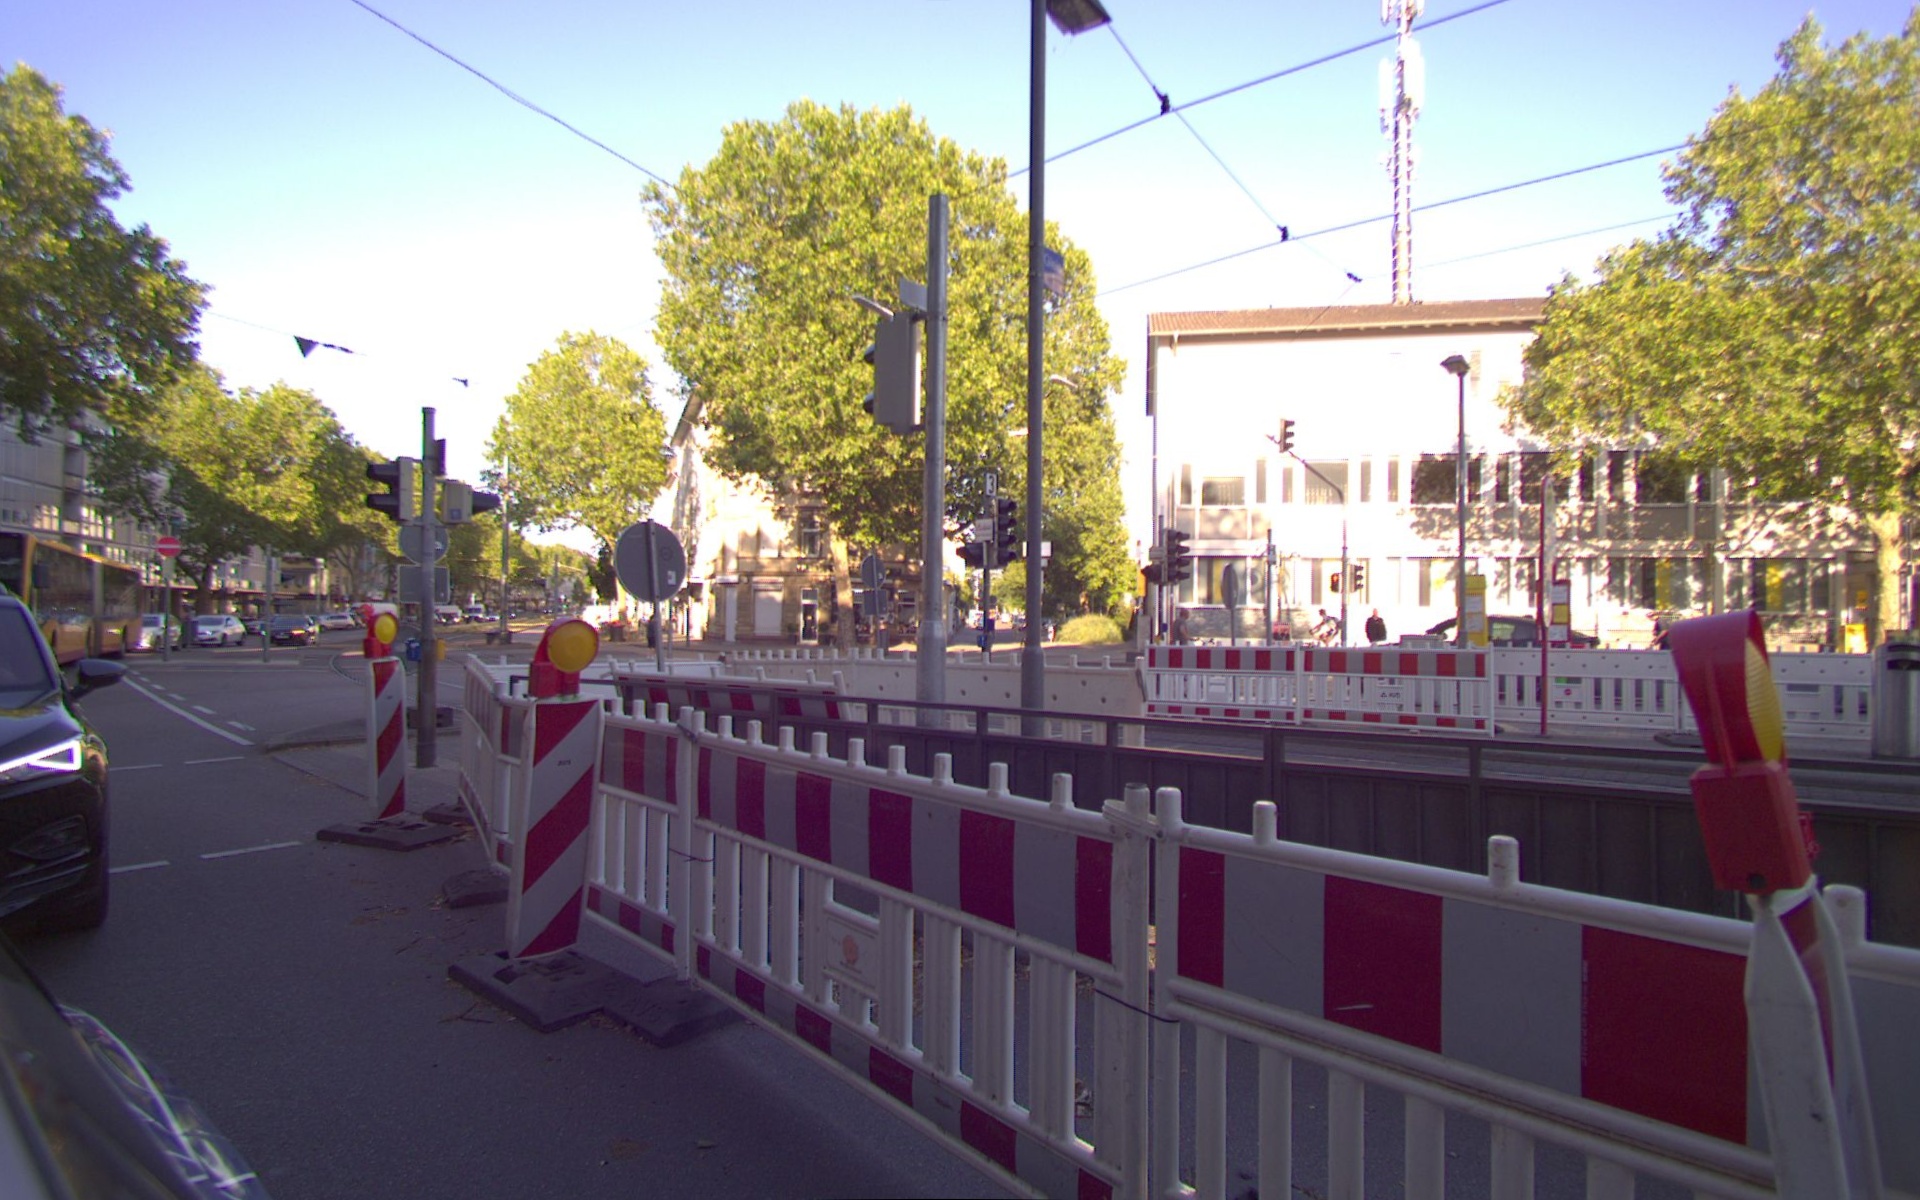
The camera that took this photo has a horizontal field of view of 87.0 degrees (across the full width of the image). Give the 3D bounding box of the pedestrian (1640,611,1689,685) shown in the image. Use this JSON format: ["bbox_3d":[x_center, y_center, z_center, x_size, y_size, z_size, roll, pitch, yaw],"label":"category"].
[{"bbox_3d":[17.887,1.200,25.722,0.923,1.847,0.693,-1,-2,28],"label":"pedestrian"}]

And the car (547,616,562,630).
[{"bbox_3d":[-58.360,3.302,145.738,1.965,2.029,4.013,1,-1,-20],"label":"car"}]

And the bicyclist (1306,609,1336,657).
[{"bbox_3d":[11.693,1.075,32.794,0.837,1.538,0.573,0,-2,13],"label":"bicyclist"}]

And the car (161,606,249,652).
[{"bbox_3d":[-34.908,1.339,46.916,1.966,2.029,4.012,1,-1,-17],"label":"car"}]

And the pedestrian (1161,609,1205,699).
[{"bbox_3d":[4.433,1.068,20.177,0.545,1.760,0.693,1,-2,-24],"label":"pedestrian"}]

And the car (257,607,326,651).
[{"bbox_3d":[-31.638,1.365,48.013,1.965,2.029,4.013,1,-1,-22],"label":"car"}]

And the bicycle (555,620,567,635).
[{"bbox_3d":[-33.259,2.290,84.287,0.837,1.202,2.474,1,-1,-23],"label":"bicycle"}]

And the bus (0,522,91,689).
[{"bbox_3d":[-21.083,0.155,21.928,2.678,3.130,8.641,1,-2,-36],"label":"bus"}]

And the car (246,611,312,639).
[{"bbox_3d":[-50.363,1.886,74.909,3.932,2.029,2.006,1,-2,-31],"label":"car"}]

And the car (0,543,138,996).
[{"bbox_3d":[-5.481,0.653,4.777,3.998,1.719,1.818,-1,-2,41],"label":"car"}]

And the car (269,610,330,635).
[{"bbox_3d":[-53.928,1.857,82.664,3.938,2.029,2.002,1,-2,-42],"label":"car"}]

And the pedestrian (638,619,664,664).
[{"bbox_3d":[-10.630,1.420,34.827,0.594,1.545,0.746,1,-2,-38],"label":"pedestrian"}]

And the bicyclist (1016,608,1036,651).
[{"bbox_3d":[2.736,1.221,41.945,0.668,1.741,0.761,0,-2,17],"label":"bicyclist"}]

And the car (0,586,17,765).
[{"bbox_3d":[-10.977,0.703,10.029,4.073,1.656,1.973,-1,-2,41],"label":"car"}]

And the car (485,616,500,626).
[{"bbox_3d":[-70.814,3.156,153.361,1.675,1.481,3.776,1,-2,-19],"label":"car"}]

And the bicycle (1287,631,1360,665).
[{"bbox_3d":[11.743,1.546,32.772,2.168,1.039,0.675,0,-2,14],"label":"bicycle"}]

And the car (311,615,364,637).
[{"bbox_3d":[-58.329,2.423,94.905,3.938,2.029,2.002,1,-2,-42],"label":"car"}]

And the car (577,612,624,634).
[{"bbox_3d":[-34.412,2.224,97.016,1.990,2.029,3.963,0,-2,27],"label":"car"}]

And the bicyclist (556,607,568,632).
[{"bbox_3d":[-33.093,1.640,84.170,0.841,2.029,0.987,1,-2,-24],"label":"bicyclist"}]

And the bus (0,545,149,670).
[{"bbox_3d":[-25.912,0.277,29.211,2.676,3.130,8.622,1,-2,-31],"label":"bus"}]

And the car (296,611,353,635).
[{"bbox_3d":[-56.089,2.046,89.377,3.938,2.029,2.002,1,-2,-42],"label":"car"}]

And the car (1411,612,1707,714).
[{"bbox_3d":[11.080,1.077,18.883,4.552,1.674,1.974,-1,-2,38],"label":"car"}]

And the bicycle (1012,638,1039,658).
[{"bbox_3d":[2.729,1.966,41.897,0.676,0.788,1.979,0,-1,17],"label":"bicycle"}]

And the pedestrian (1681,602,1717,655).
[{"bbox_3d":[20.541,0.785,28.126,0.579,1.466,0.584,0,-2,10],"label":"pedestrian"}]

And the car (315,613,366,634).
[{"bbox_3d":[-60.238,2.266,98.466,3.938,2.029,2.002,1,-2,-42],"label":"car"}]

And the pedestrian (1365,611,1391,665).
[{"bbox_3d":[12.177,1.093,29.457,0.649,1.564,0.563,-1,-2,28],"label":"pedestrian"}]

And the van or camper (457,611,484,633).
[{"bbox_3d":[-64.899,2.911,134.336,2.385,2.739,6.151,1,-1,-18],"label":"van or camper"}]

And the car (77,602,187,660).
[{"bbox_3d":[-30.815,1.148,37.832,1.965,2.029,4.111,1,-1,-21],"label":"car"}]
